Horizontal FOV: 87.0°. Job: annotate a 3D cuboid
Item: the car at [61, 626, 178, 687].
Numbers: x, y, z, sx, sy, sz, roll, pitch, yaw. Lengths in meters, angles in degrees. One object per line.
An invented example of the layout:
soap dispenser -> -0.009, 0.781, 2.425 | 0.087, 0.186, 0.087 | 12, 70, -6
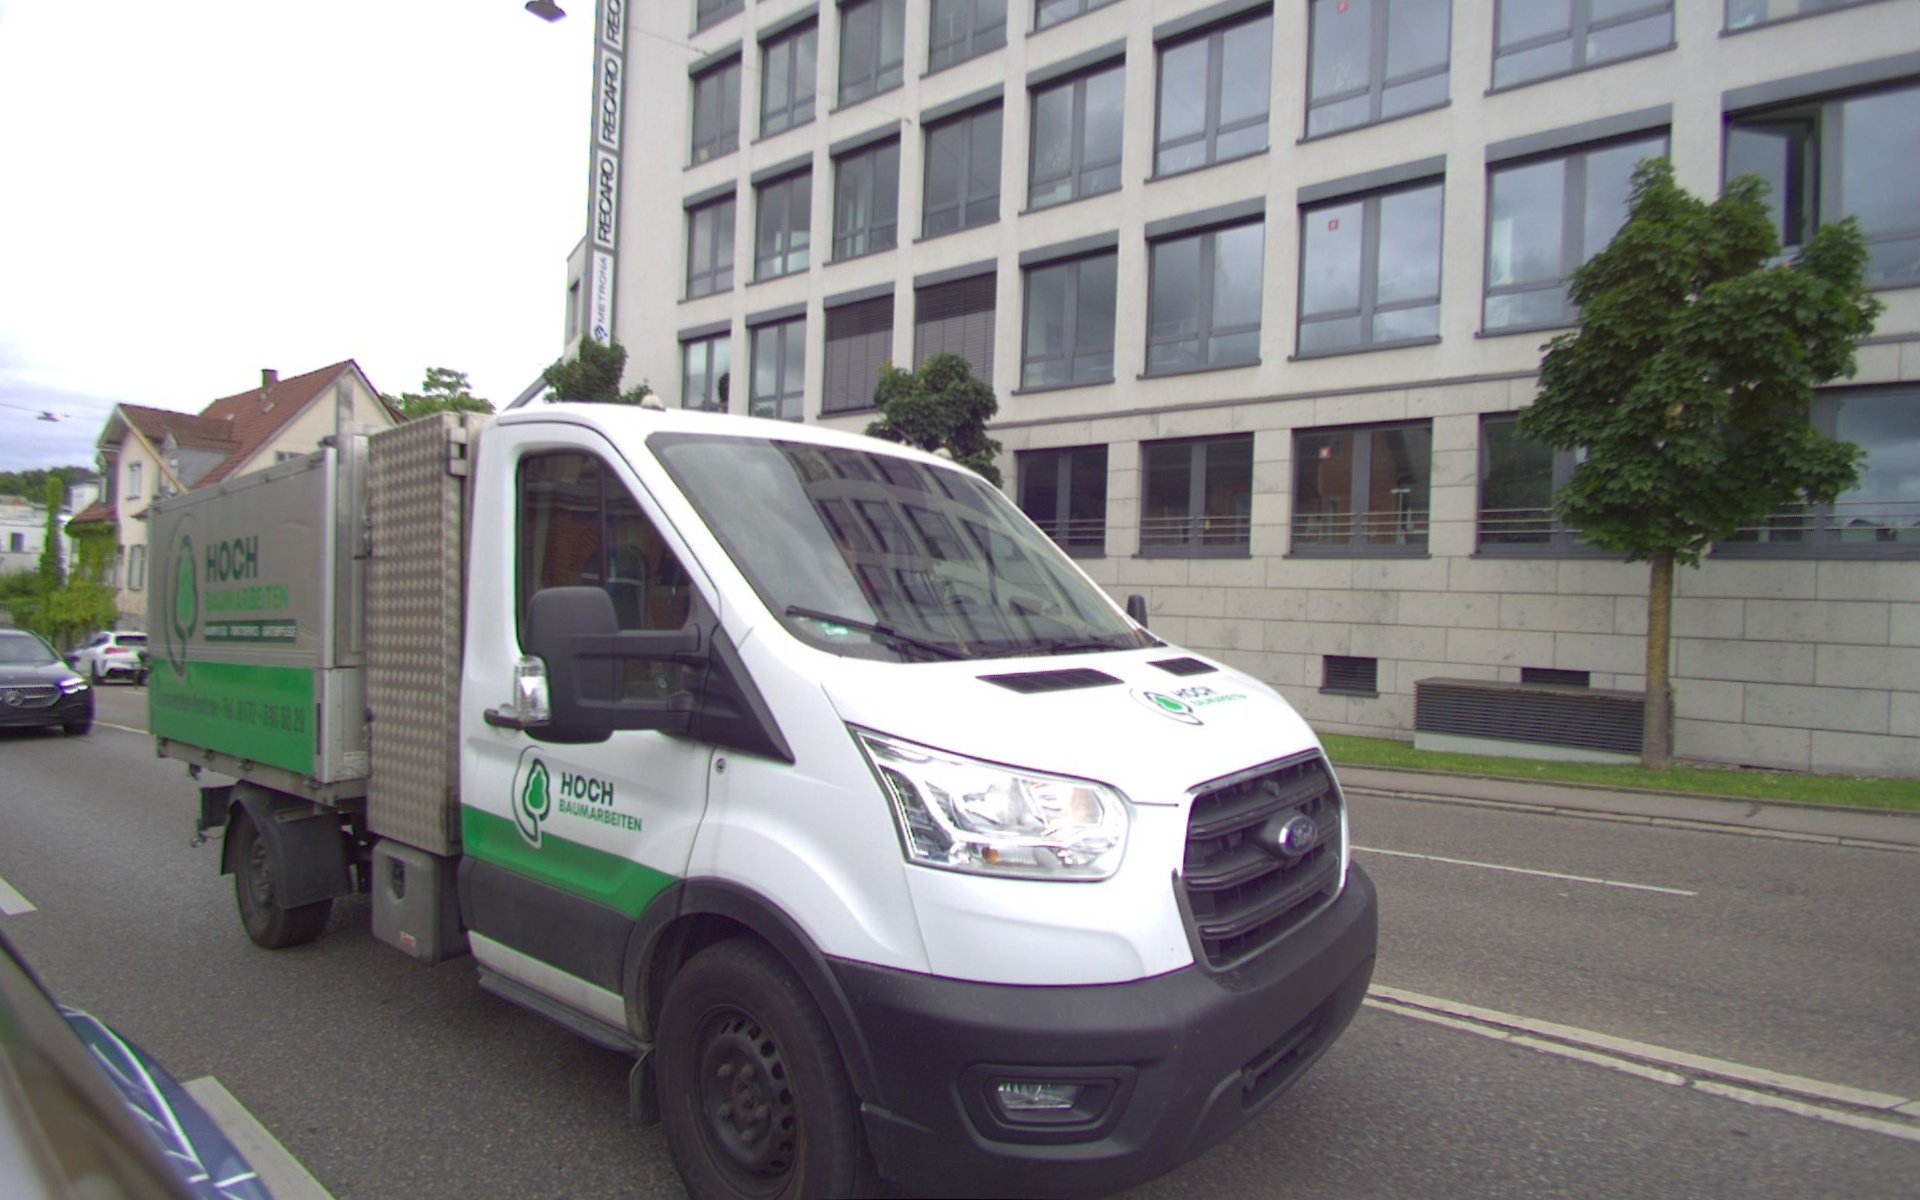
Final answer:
car -> -26.569, 1.780, 31.940 | 4.648, 1.803, 1.851 | -2, -5, 39

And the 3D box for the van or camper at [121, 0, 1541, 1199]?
van or camper -> -1.186, 0.188, 4.167 | 5.957, 2.682, 2.320 | 0, 0, 39

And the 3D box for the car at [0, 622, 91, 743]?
car -> -14.032, 1.126, 14.312 | 4.329, 1.542, 1.855 | -2, -3, 38

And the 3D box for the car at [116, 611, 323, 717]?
car -> -13.509, 1.144, 18.379 | 4.424, 1.715, 1.851 | -2, -5, 39
